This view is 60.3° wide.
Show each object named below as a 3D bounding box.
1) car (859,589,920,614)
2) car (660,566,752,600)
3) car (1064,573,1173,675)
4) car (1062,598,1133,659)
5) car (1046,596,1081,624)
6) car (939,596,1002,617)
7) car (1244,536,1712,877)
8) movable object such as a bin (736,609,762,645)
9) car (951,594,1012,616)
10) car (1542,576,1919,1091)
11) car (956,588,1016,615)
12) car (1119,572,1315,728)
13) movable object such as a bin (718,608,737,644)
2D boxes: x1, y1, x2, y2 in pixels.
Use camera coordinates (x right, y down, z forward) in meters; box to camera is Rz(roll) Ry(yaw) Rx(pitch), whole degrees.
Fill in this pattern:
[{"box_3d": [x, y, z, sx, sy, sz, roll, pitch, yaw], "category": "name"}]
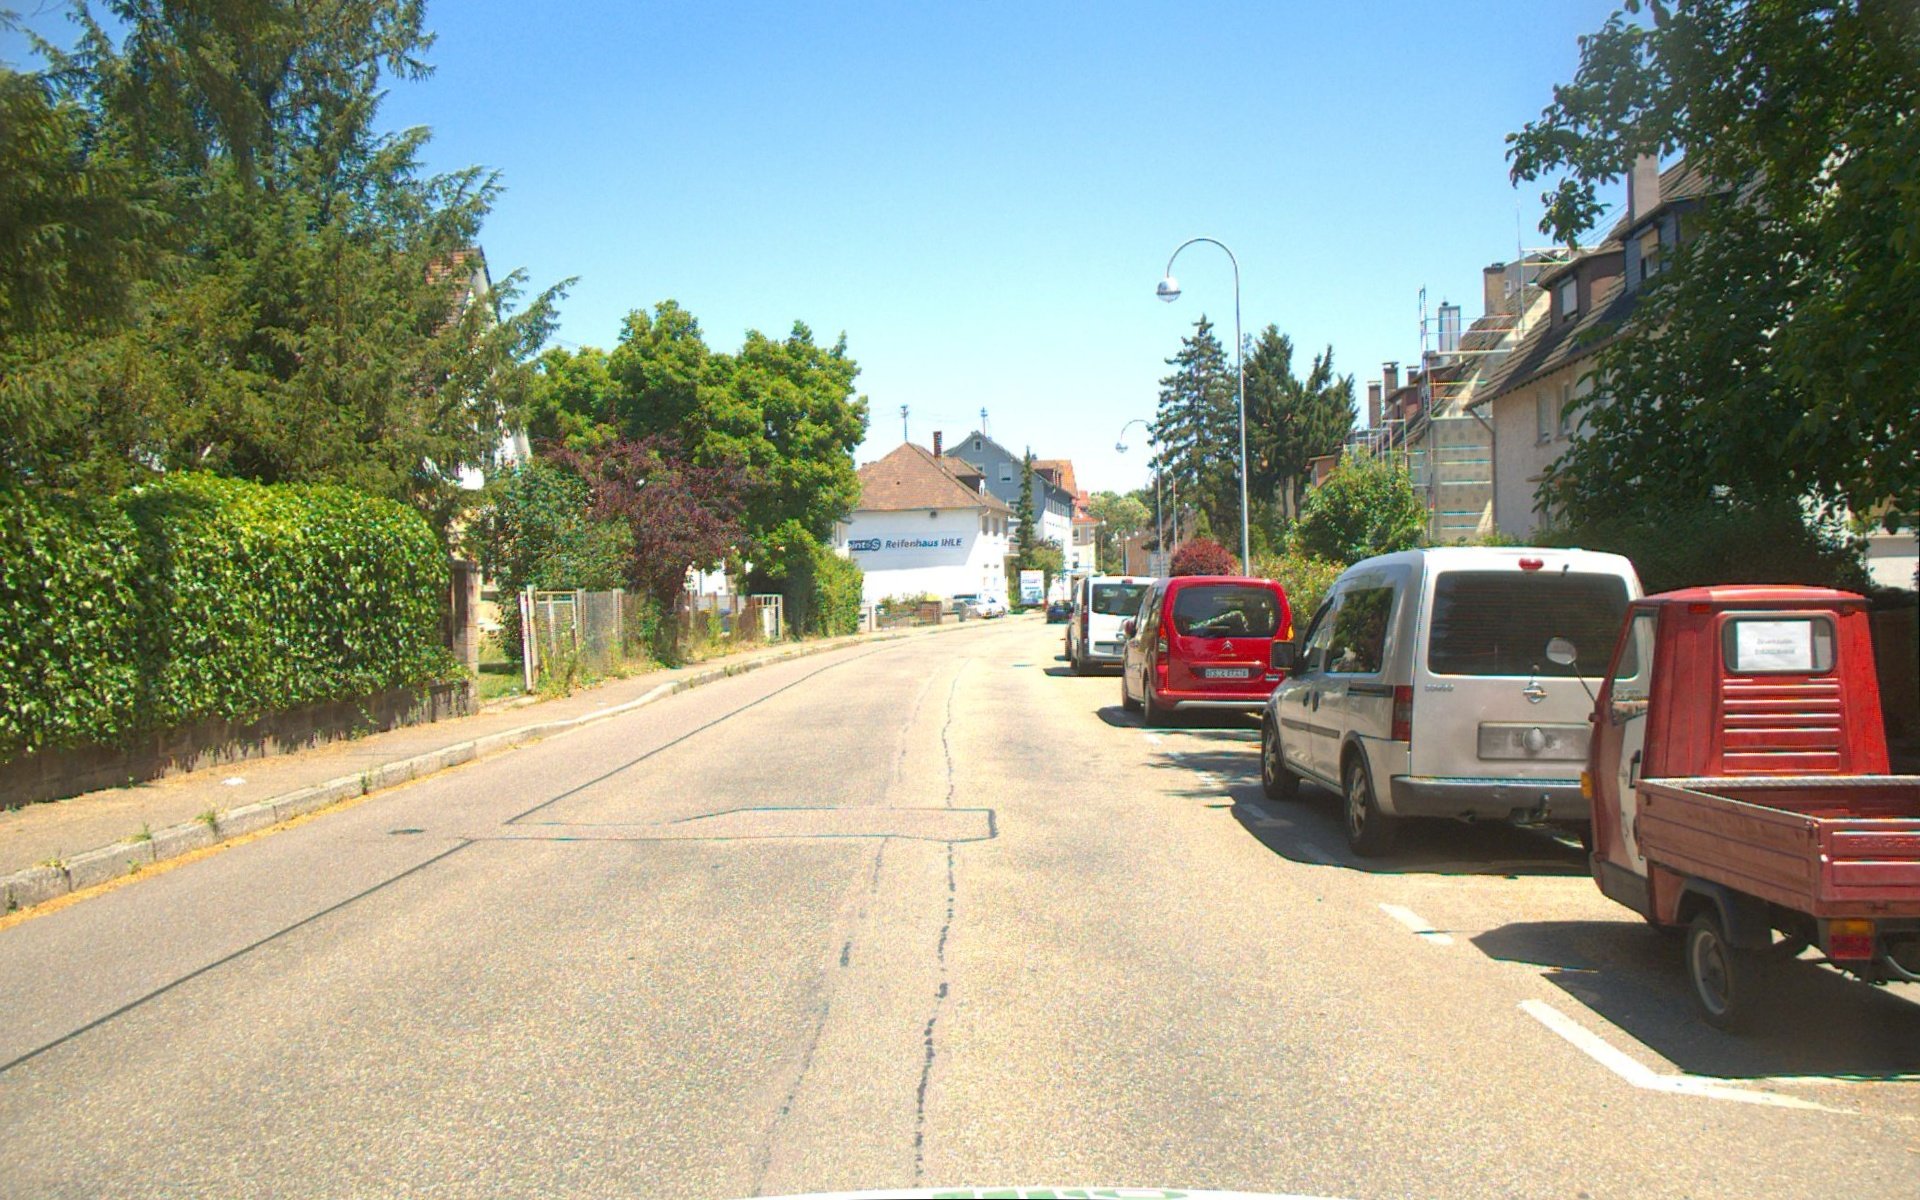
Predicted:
[{"box_3d": [-4.548, 0.067, 106.604, 1.787, 1.536, 3.934, -2, 1, -45], "category": "car"}, {"box_3d": [-11.444, -0.757, 74.655, 3.907, 1.537, 1.799, 0, 0, -3], "category": "car"}, {"box_3d": [3.220, 0.450, 34.477, 1.864, 1.958, 4.719, -1, 0, 1], "category": "car"}, {"box_3d": [3.418, 0.677, 41.686, 1.622, 1.422, 4.001, -1, 0, 2], "category": "car"}, {"box_3d": [5.959, 0.562, 95.275, 1.756, 1.537, 4.003, 0, 0, 7], "category": "car"}, {"box_3d": [0.684, 0.442, 111.566, 4.070, 1.367, 1.899, -1, 1, 43], "category": "car"}, {"box_3d": [3.176, 0.568, 11.157, 1.710, 1.813, 4.543, 1, 0, 0], "category": "car"}, {"box_3d": [-6.117, 0.777, 47.947, 0.693, 1.014, 0.474, -1, 0, 0], "category": "movable object such as a bin"}, {"box_3d": [1.494, 0.363, 114.511, 4.040, 1.418, 1.830, -1, 1, 8], "category": "car"}, {"box_3d": [3.268, 0.694, 6.248, 1.234, 1.522, 2.709, 1, 0, 1], "category": "car"}, {"box_3d": [1.866, 0.128, 117.072, 4.041, 1.805, 1.830, -1, 0, 5], "category": "car"}, {"box_3d": [3.148, 0.576, 21.132, 1.864, 1.758, 4.392, 1, 0, 1], "category": "car"}, {"box_3d": [-6.818, 0.761, 48.435, 0.457, 1.027, 0.506, 0, 0, 2], "category": "movable object such as a bin"}]
